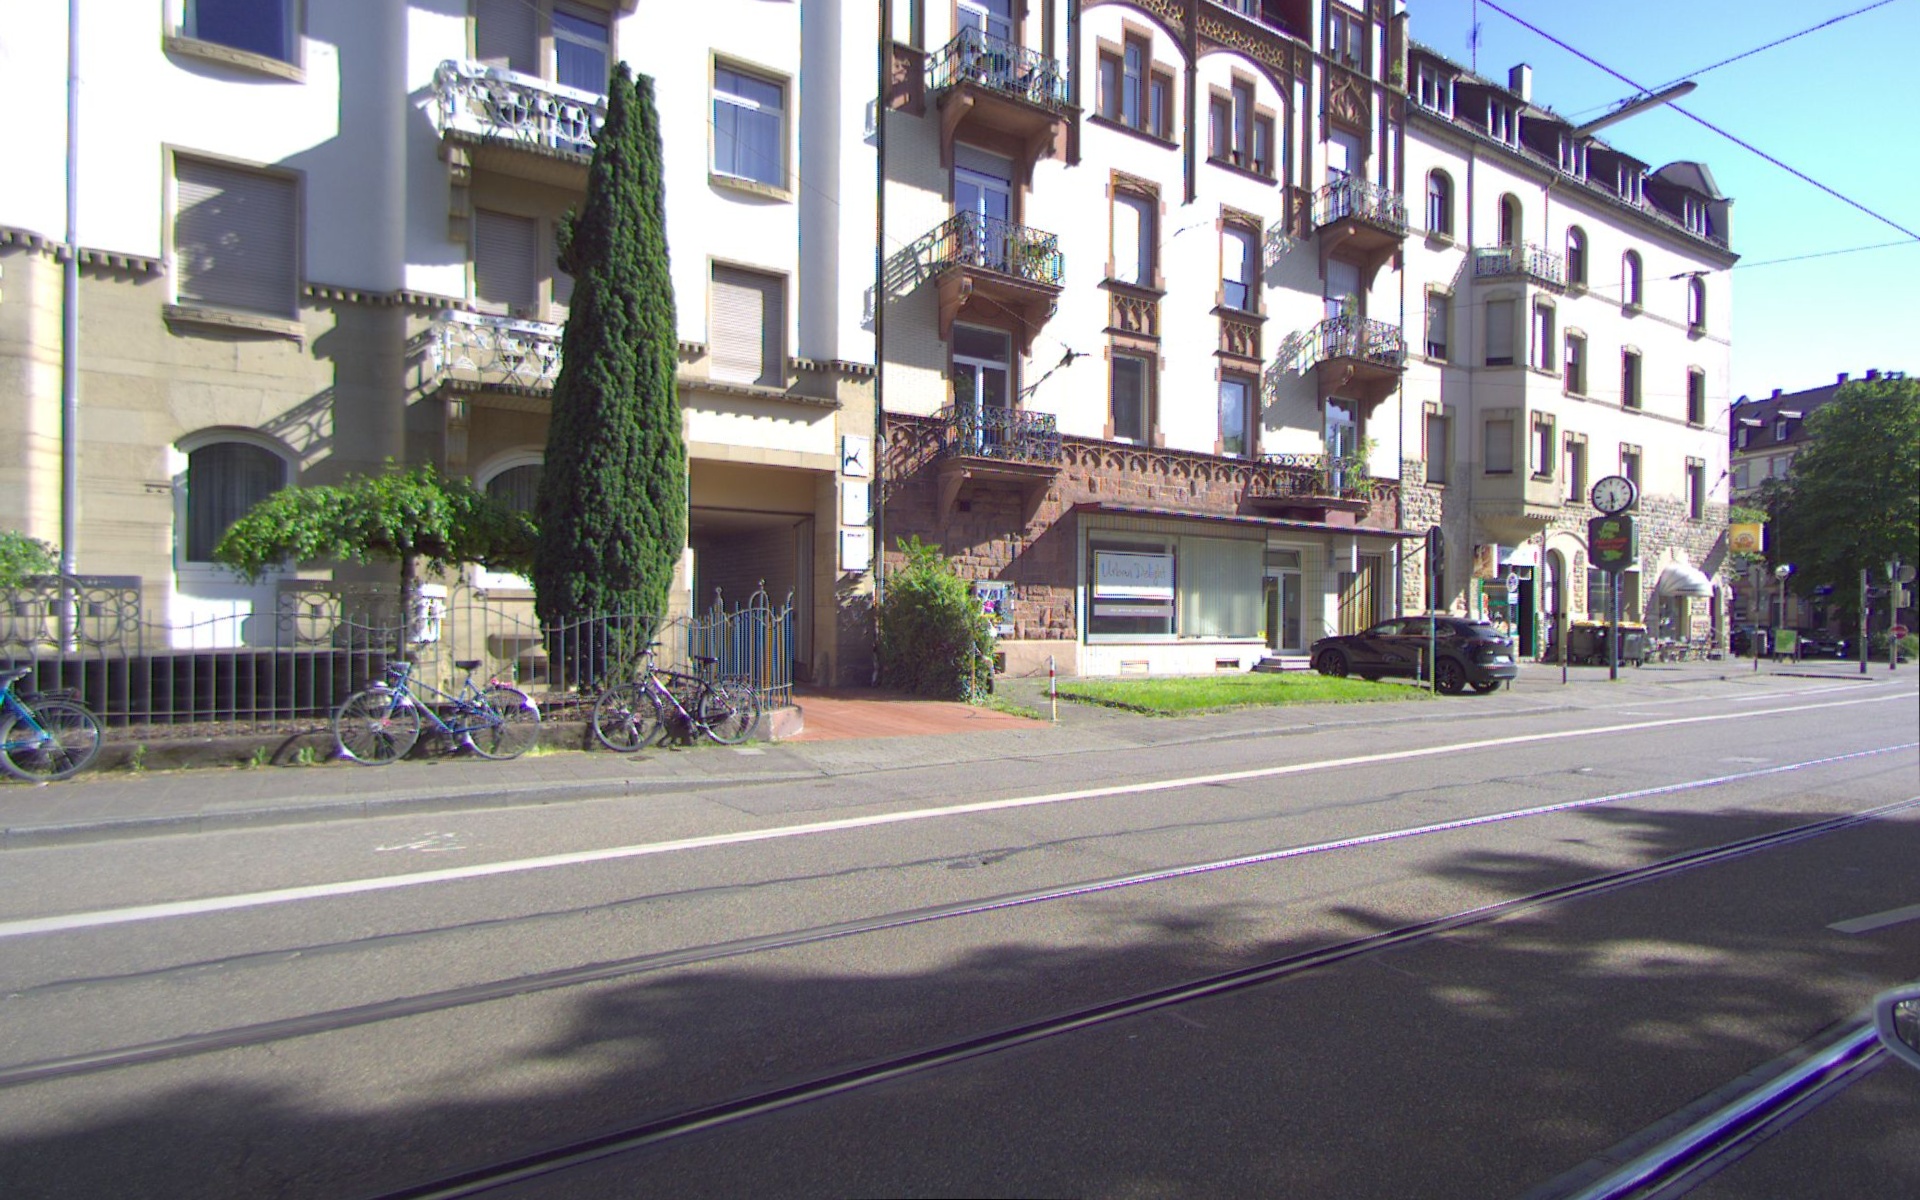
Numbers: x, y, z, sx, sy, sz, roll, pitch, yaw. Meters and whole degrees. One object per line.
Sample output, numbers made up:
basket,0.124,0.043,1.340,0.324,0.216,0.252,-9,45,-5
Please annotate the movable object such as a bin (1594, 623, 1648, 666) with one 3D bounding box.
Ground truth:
movable object such as a bin,20.687,1.395,31.444,1.128,1.290,0.942,2,0,-26

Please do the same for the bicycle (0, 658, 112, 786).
bicycle,-7.710,0.937,7.734,1.728,0.955,0.402,2,0,-31

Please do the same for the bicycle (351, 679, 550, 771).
bicycle,-4.764,1.149,9.456,1.633,0.772,0.316,2,0,-31

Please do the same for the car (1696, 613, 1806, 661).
car,37.060,1.692,47.196,1.961,2.040,3.999,2,0,-1

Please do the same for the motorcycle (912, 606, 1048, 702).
motorcycle,0.271,0.884,17.623,0.814,1.476,3.067,2,0,-32

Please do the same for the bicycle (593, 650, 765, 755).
bicycle,-3.008,1.079,10.841,1.728,1.053,0.402,2,0,-31

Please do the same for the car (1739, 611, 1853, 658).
car,39.309,1.586,47.371,1.961,2.040,3.999,2,0,-1

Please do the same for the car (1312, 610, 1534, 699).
car,9.856,1.098,21.649,1.755,1.523,3.958,2,1,-36

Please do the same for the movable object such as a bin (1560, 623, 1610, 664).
movable object such as a bin,19.939,1.392,32.060,1.228,1.239,0.829,2,0,-28
